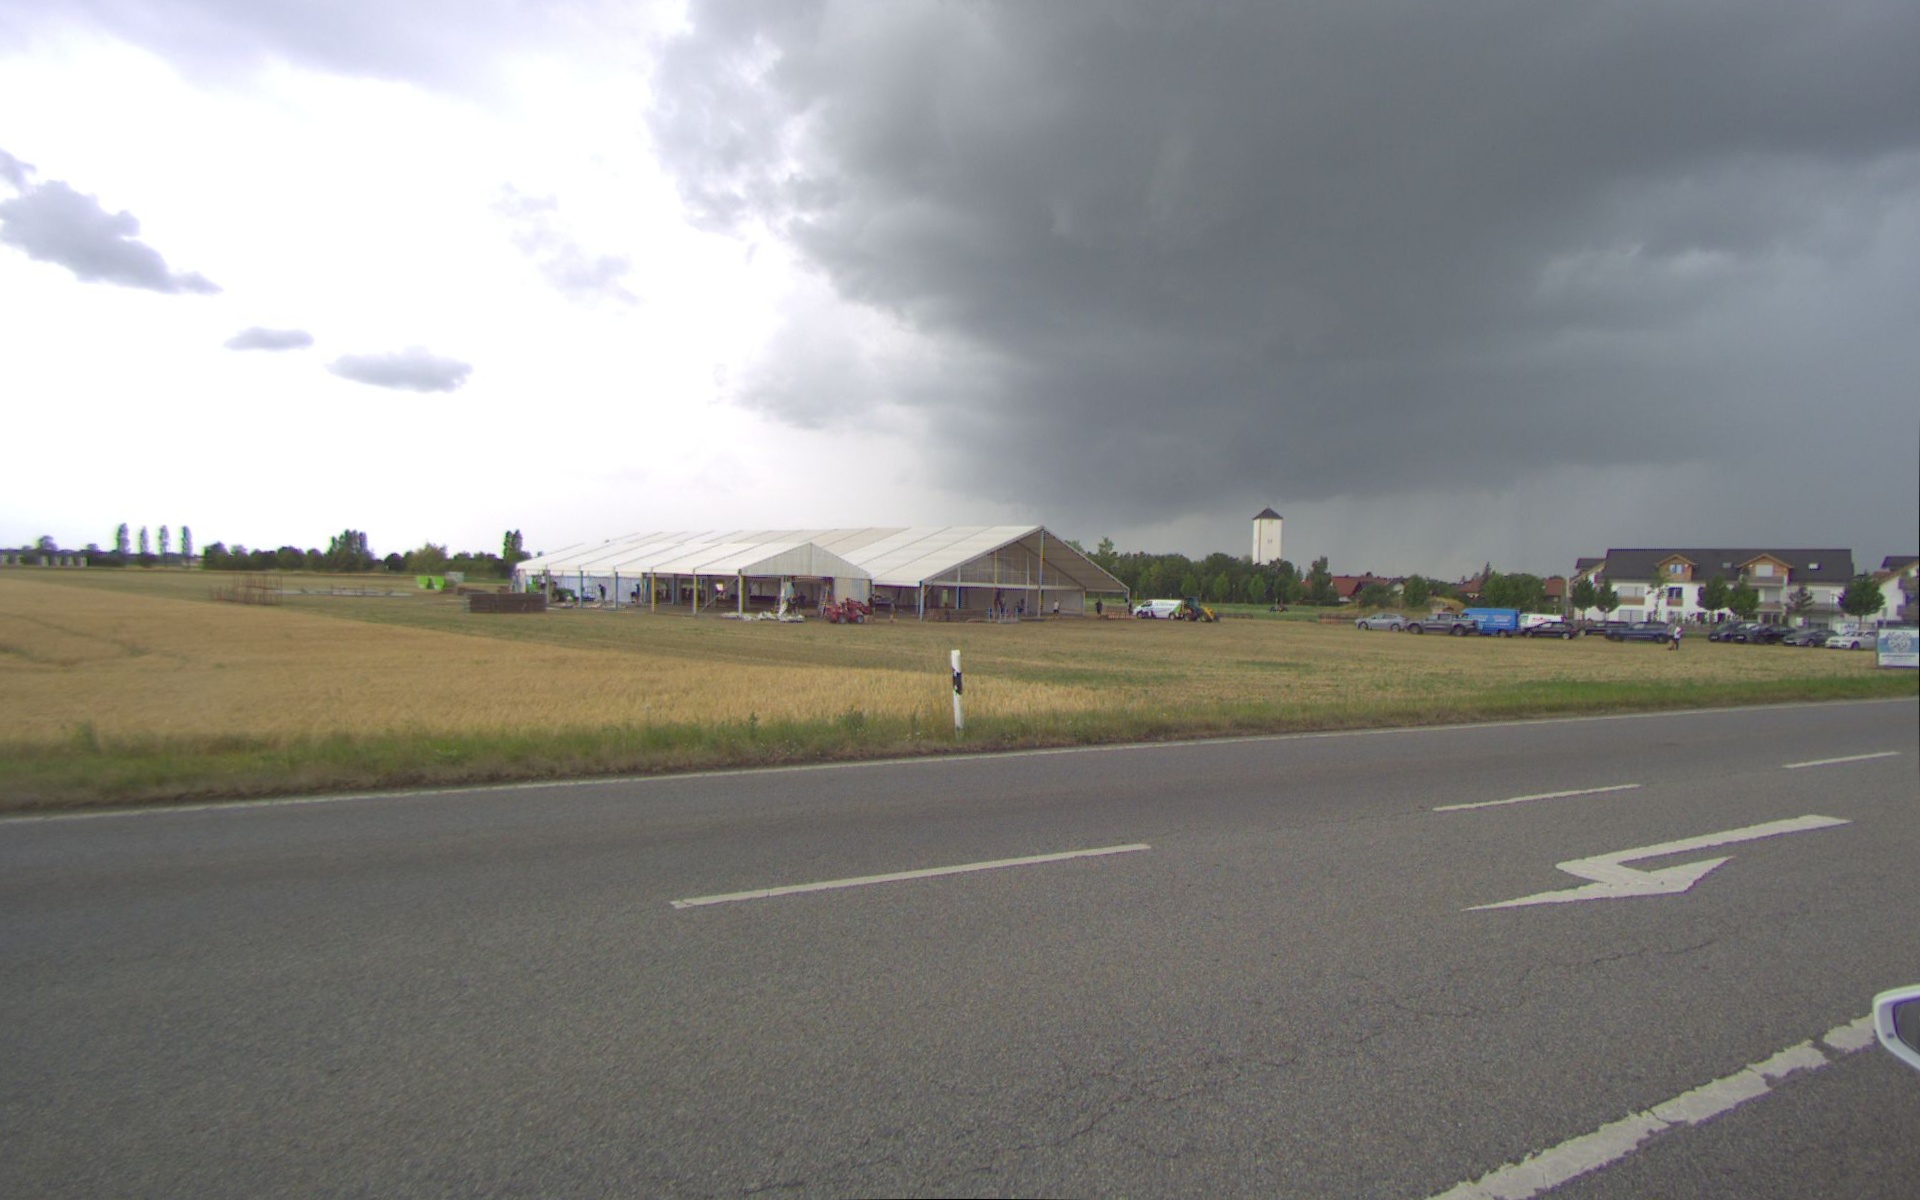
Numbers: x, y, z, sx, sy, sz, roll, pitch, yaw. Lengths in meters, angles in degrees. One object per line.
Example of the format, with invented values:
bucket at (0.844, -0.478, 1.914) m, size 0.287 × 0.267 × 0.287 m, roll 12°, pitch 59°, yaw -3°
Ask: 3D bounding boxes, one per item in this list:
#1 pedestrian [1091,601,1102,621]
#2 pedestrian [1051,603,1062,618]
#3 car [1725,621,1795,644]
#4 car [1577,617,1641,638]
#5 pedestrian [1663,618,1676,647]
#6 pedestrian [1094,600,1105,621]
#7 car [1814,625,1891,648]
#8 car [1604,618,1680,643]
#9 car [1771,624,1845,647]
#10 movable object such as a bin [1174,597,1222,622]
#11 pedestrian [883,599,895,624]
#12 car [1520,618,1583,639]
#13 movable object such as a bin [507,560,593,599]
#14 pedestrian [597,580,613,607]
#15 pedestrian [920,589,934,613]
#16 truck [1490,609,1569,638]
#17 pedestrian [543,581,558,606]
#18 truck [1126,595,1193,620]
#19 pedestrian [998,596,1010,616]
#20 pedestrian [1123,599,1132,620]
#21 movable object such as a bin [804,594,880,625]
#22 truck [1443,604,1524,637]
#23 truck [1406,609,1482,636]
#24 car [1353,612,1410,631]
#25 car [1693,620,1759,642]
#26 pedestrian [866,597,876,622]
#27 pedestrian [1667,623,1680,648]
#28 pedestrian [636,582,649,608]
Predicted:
pedestrian at (12.371, 0.963, 91.095) m, size 0.690 × 1.799 × 0.682 m, roll 1°, pitch 0°, yaw -43°
pedestrian at (8.483, 0.945, 88.059) m, size 0.689 × 1.288 × 0.682 m, roll 1°, pitch 0°, yaw -40°
car at (61.357, 2.493, 77.030) m, size 4.137 × 1.650 × 1.996 m, roll 1°, pitch 0°, yaw -11°
car at (58.368, 2.443, 90.426) m, size 4.572 × 1.720 × 1.990 m, roll 2°, pitch 0°, yaw 41°
pedestrian at (45.651, 2.077, 64.621) m, size 0.673 × 1.809 × 0.543 m, roll 1°, pitch 0°, yaw -41°
pedestrian at (12.299, 0.933, 88.638) m, size 0.680 × 1.799 × 0.691 m, roll 2°, pitch 0°, yaw 42°
car at (63.409, 2.607, 71.407) m, size 4.137 × 1.465 × 1.996 m, roll 1°, pitch 0°, yaw -11°
car at (52.499, 2.359, 77.344) m, size 4.661 × 1.720 × 1.990 m, roll 2°, pitch 0°, yaw 41°
car at (62.457, 2.603, 74.034) m, size 4.137 × 1.556 × 1.996 m, roll 1°, pitch 0°, yaw -11°
movable object such as a bin at (22.268, 0.879, 93.851) m, size 3.930 × 2.273 × 1.880 m, roll 2°, pitch 0°, yaw 34°
pedestrian at (-4.798, 0.782, 68.248) m, size 0.538 × 1.649 × 0.549 m, roll 2°, pitch 0°, yaw 40°
car at (47.812, 2.271, 81.253) m, size 4.107 × 1.539 × 1.990 m, roll 2°, pitch 0°, yaw 41°
movable object such as a bin at (-36.989, -1.873, 90.543) m, size 7.469 × 3.219 × 4.138 m, roll 3°, pitch 1°, yaw 41°
pedestrian at (-28.192, -0.506, 79.687) m, size 1.006 × 2.040 × 0.805 m, roll 2°, pitch 0°, yaw -8°
pedestrian at (-2.890, 0.104, 87.535) m, size 0.868 × 2.040 × 0.761 m, roll 1°, pitch 0°, yaw -33°
truck at (48.586, 1.948, 85.733) m, size 5.496 × 2.226 × 2.596 m, roll 2°, pitch 0°, yaw 39°
pedestrian at (-34.111, -0.504, 83.655) m, size 1.011 × 2.040 × 0.802 m, roll 2°, pitch 0°, yaw 43°
truck at (19.812, 0.745, 99.971) m, size 5.962 × 2.246 × 2.713 m, roll 2°, pitch 0°, yaw 34°
pedestrian at (3.873, 0.525, 88.813) m, size 0.689 × 1.799 × 0.682 m, roll 1°, pitch 0°, yaw -40°
pedestrian at (15.771, 0.890, 94.600) m, size 0.695 × 1.890 × 0.625 m, roll 2°, pitch 0°, yaw -5°
movable object such as a bin at (-7.739, 0.636, 66.284) m, size 2.556 × 1.889 × 4.456 m, roll 2°, pitch 0°, yaw 38°
truck at (42.384, 1.612, 81.383) m, size 5.380 × 2.478 × 2.384 m, roll 2°, pitch 0°, yaw 39°
truck at (38.499, 1.782, 79.974) m, size 5.156 × 1.946 × 2.106 m, roll 2°, pitch 0°, yaw 35°
car at (36.337, 1.840, 86.677) m, size 4.237 × 1.481 × 1.885 m, roll 2°, pitch 0°, yaw 35°
car at (61.617, 2.477, 80.827) m, size 4.137 × 1.650 × 1.996 m, roll 1°, pitch 0°, yaw -11°
pedestrian at (-6.142, 0.651, 69.140) m, size 0.575 × 1.649 × 0.468 m, roll 2°, pitch 0°, yaw -21°
pedestrian at (46.326, 2.289, 65.220) m, size 0.583 × 1.576 × 0.622 m, roll 2°, pitch 0°, yaw 42°
pedestrian at (-26.377, -0.388, 83.446) m, size 0.928 × 2.130 × 0.862 m, roll 1°, pitch 0°, yaw -25°
